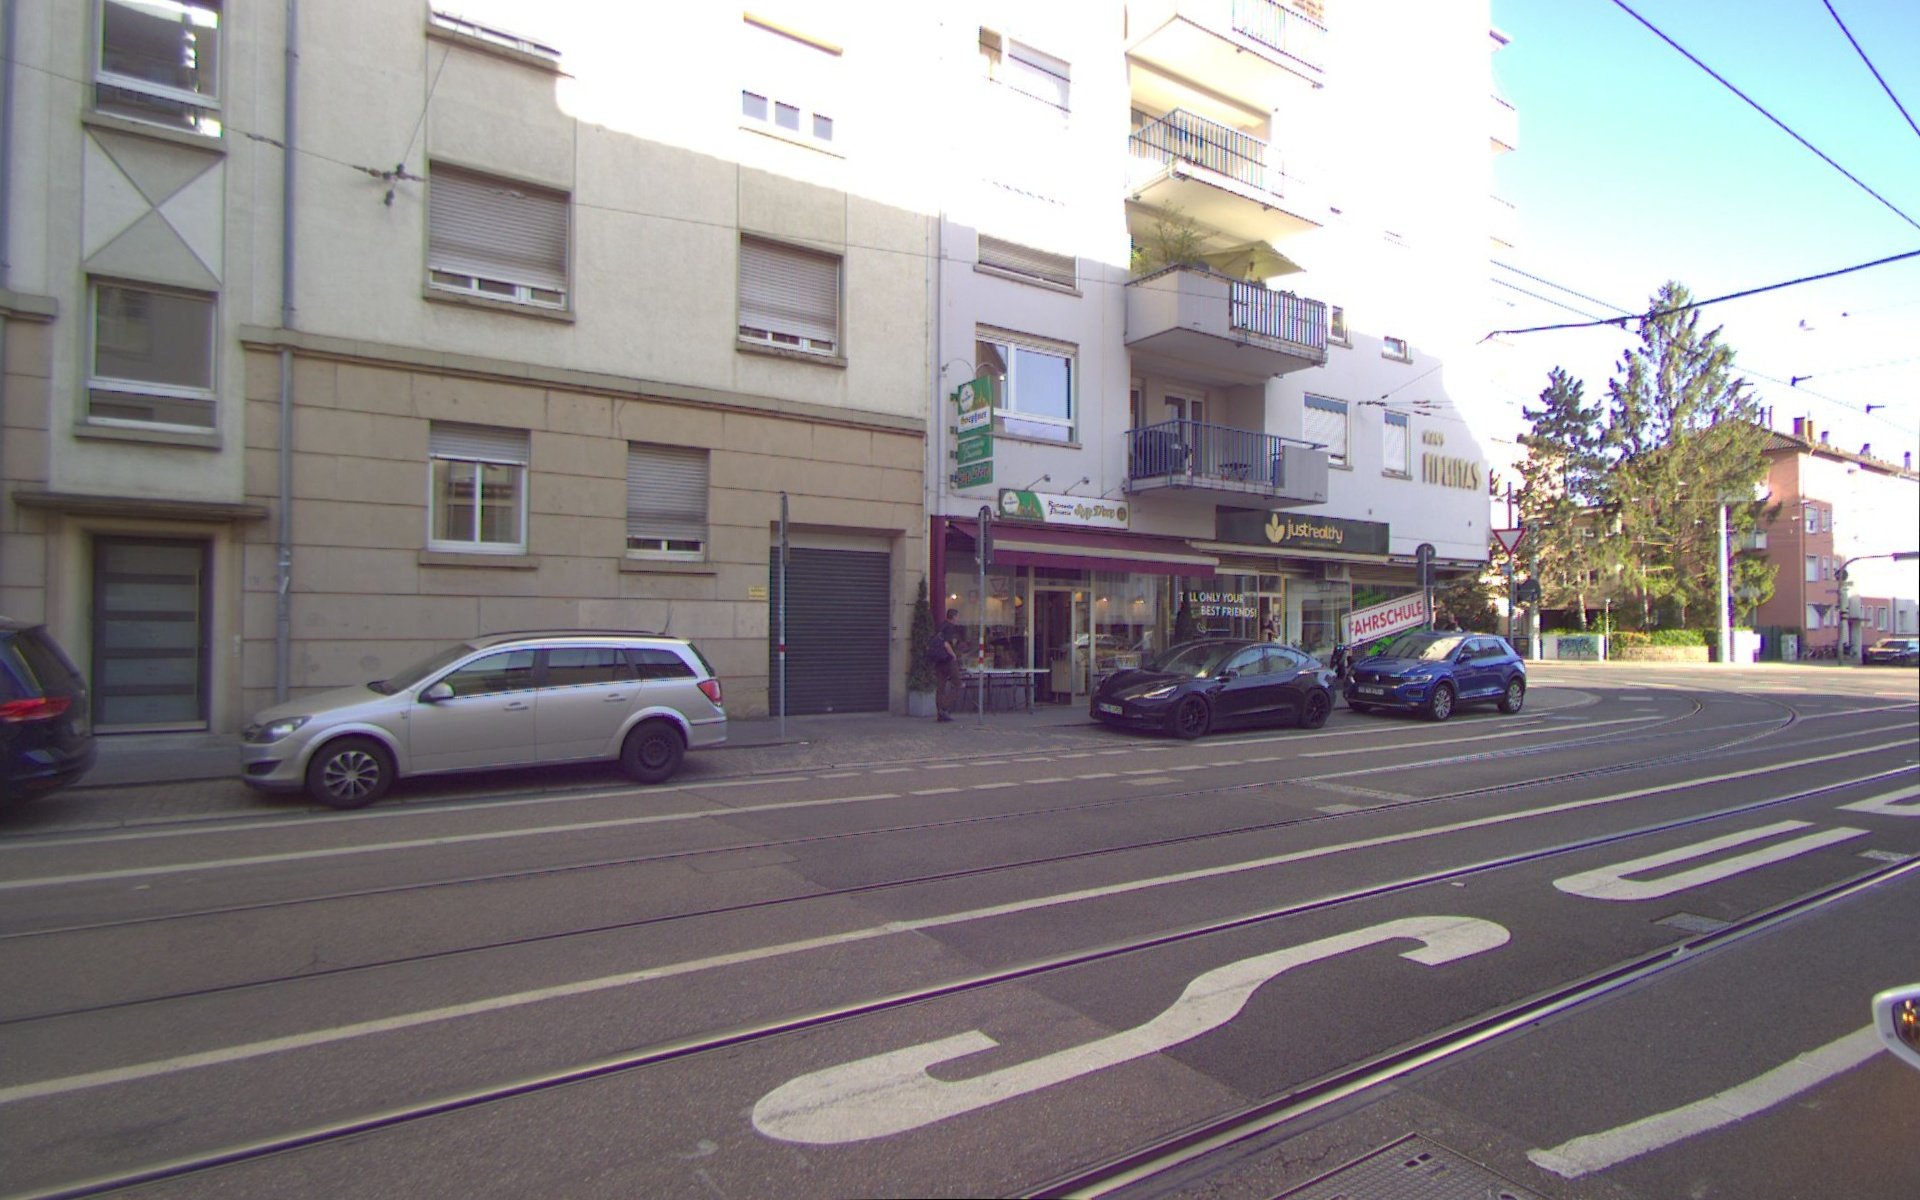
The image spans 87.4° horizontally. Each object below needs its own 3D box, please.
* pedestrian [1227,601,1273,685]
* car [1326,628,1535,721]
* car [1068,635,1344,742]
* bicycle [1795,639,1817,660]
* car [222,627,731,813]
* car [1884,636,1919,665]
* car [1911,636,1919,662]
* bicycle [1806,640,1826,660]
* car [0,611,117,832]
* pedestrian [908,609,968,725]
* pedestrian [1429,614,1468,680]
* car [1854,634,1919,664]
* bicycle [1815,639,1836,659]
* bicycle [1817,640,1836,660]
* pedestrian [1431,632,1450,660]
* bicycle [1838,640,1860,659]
[{"bbox_3d":[6.662,0.989,23.087,0.665,1.882,0.746,1,-2,-35],"label":"pedestrian"},{"bbox_3d":[8.977,1.343,19.074,4.072,1.525,1.714,1,1,-34],"label":"car"},{"bbox_3d":[3.998,1.312,16.032,4.442,1.422,1.714,1,1,-34],"label":"car"},{"bbox_3d":[46.870,2.725,55.622,1.895,1.097,0.634,2,-2,-41],"label":"bicycle"},{"bbox_3d":[-4.721,1.045,10.204,4.343,1.497,1.785,1,-1,-34],"label":"car"},{"bbox_3d":[54.261,2.842,57.002,4.006,1.539,1.938,1,-2,-36],"label":"car"},{"bbox_3d":[58.115,2.899,59.441,3.961,1.539,1.938,1,-2,-36],"label":"car"},{"bbox_3d":[47.165,2.736,55.330,1.895,1.097,0.532,2,-2,-41],"label":"bicycle"},{"bbox_3d":[-9.009,0.875,7.182,4.343,1.620,1.785,1,-1,-34],"label":"car"},{"bbox_3d":[-0.340,1.008,15.438,0.722,1.731,0.600,1,-2,-32],"label":"pedestrian"},{"bbox_3d":[14.041,1.352,28.879,0.707,1.859,0.771,0,-1,-3],"label":"pedestrian"},{"bbox_3d":[49.712,2.617,53.772,3.961,1.539,1.938,1,-2,-36],"label":"car"},{"bbox_3d":[50.728,2.862,58.870,1.892,1.097,0.533,1,-2,-37],"label":"bicycle"},{"bbox_3d":[47.593,2.748,55.155,1.895,1.097,0.532,2,-2,-41],"label":"bicycle"},{"bbox_3d":[29.465,2.828,61.626,0.672,1.725,0.805,1,-2,-30],"label":"pedestrian"},{"bbox_3d":[53.145,2.939,60.015,1.892,1.097,0.605,1,-2,-37],"label":"bicycle"}]
